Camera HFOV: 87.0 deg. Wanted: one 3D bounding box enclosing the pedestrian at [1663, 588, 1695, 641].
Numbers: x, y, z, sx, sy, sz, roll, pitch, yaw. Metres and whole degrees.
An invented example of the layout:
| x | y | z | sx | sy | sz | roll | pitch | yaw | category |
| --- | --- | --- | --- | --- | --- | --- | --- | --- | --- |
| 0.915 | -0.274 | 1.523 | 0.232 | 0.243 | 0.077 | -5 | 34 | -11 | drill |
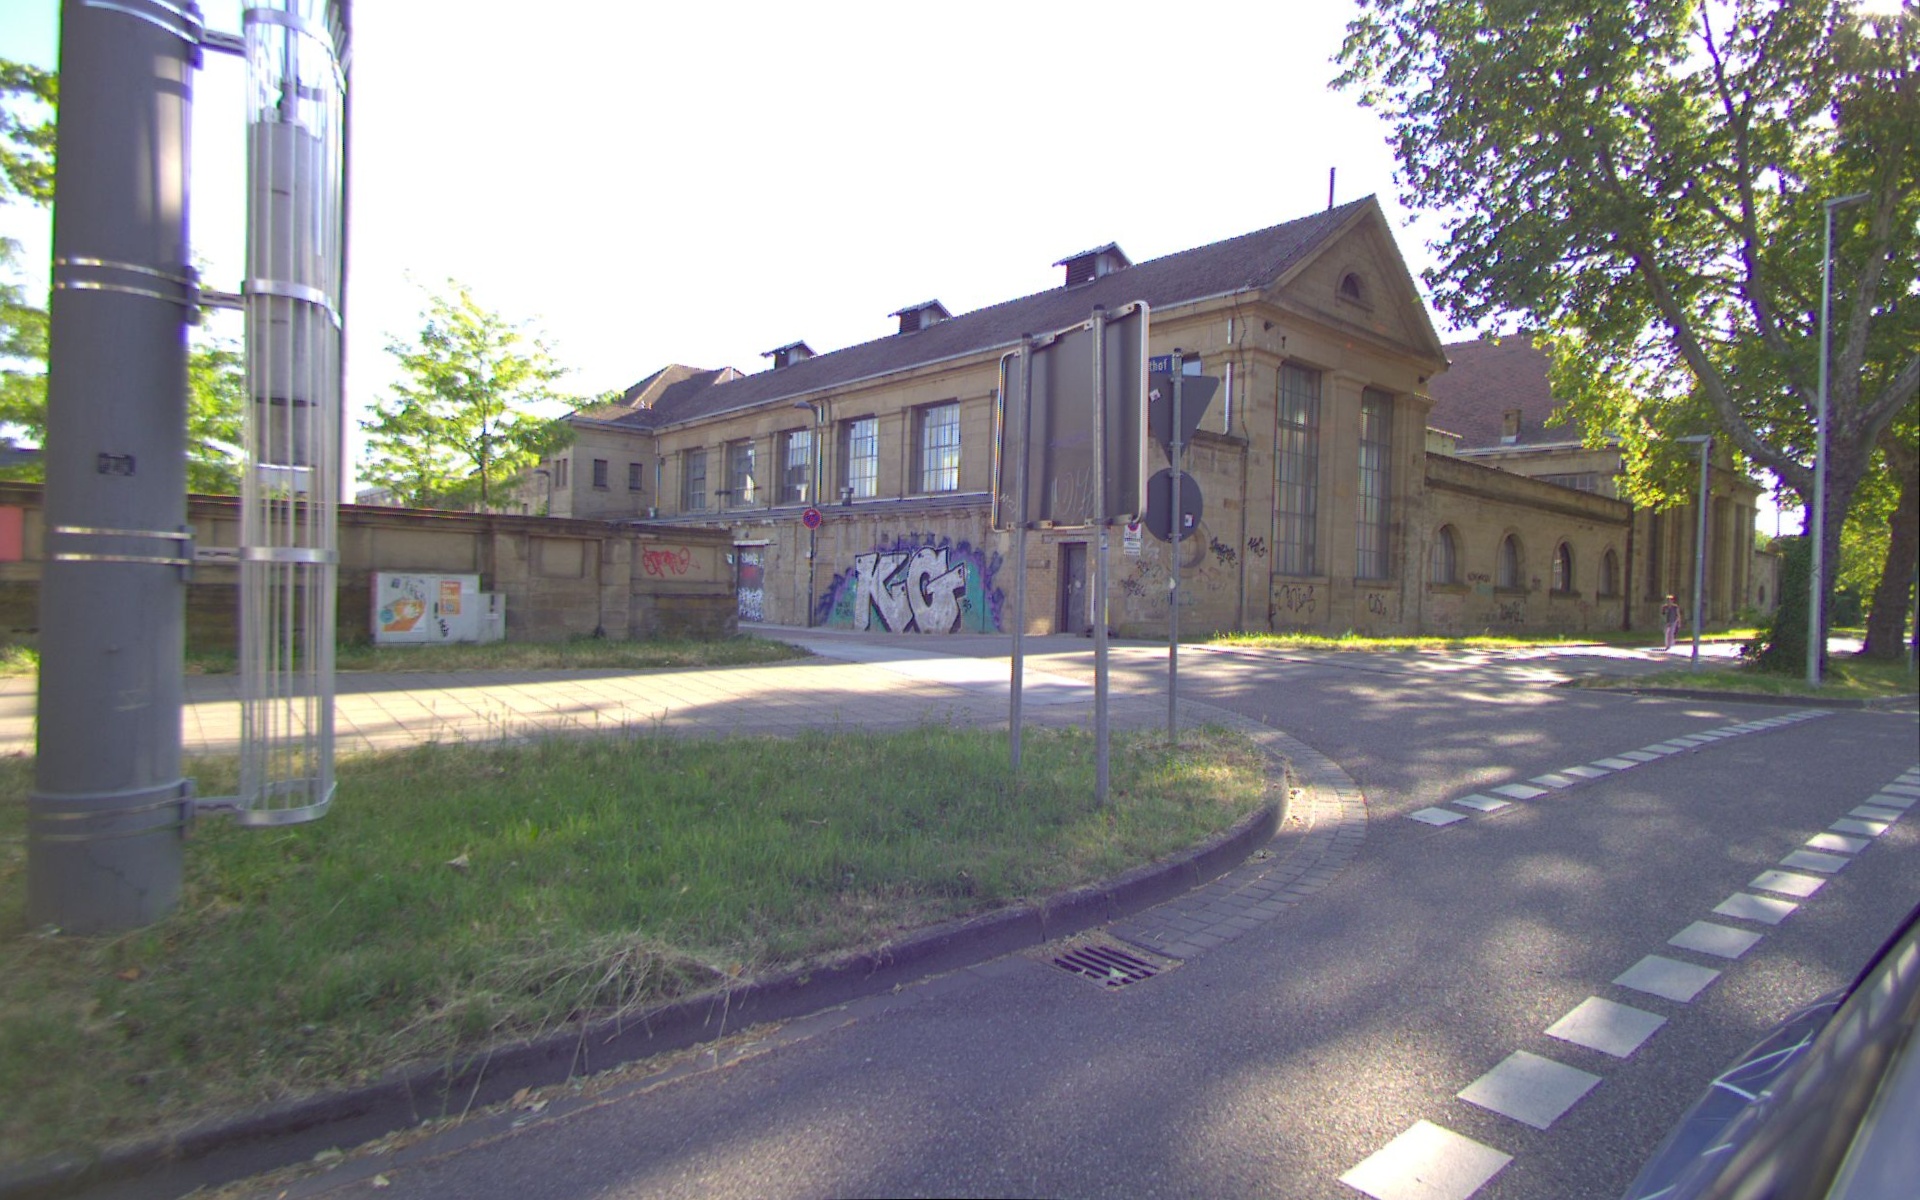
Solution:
| x | y | z | sx | sy | sz | roll | pitch | yaw | category |
| --- | --- | --- | --- | --- | --- | --- | --- | --- | --- |
| 23.343 | 0.460 | 32.858 | 0.670 | 1.682 | 0.861 | 4 | 2 | 42 | pedestrian |
